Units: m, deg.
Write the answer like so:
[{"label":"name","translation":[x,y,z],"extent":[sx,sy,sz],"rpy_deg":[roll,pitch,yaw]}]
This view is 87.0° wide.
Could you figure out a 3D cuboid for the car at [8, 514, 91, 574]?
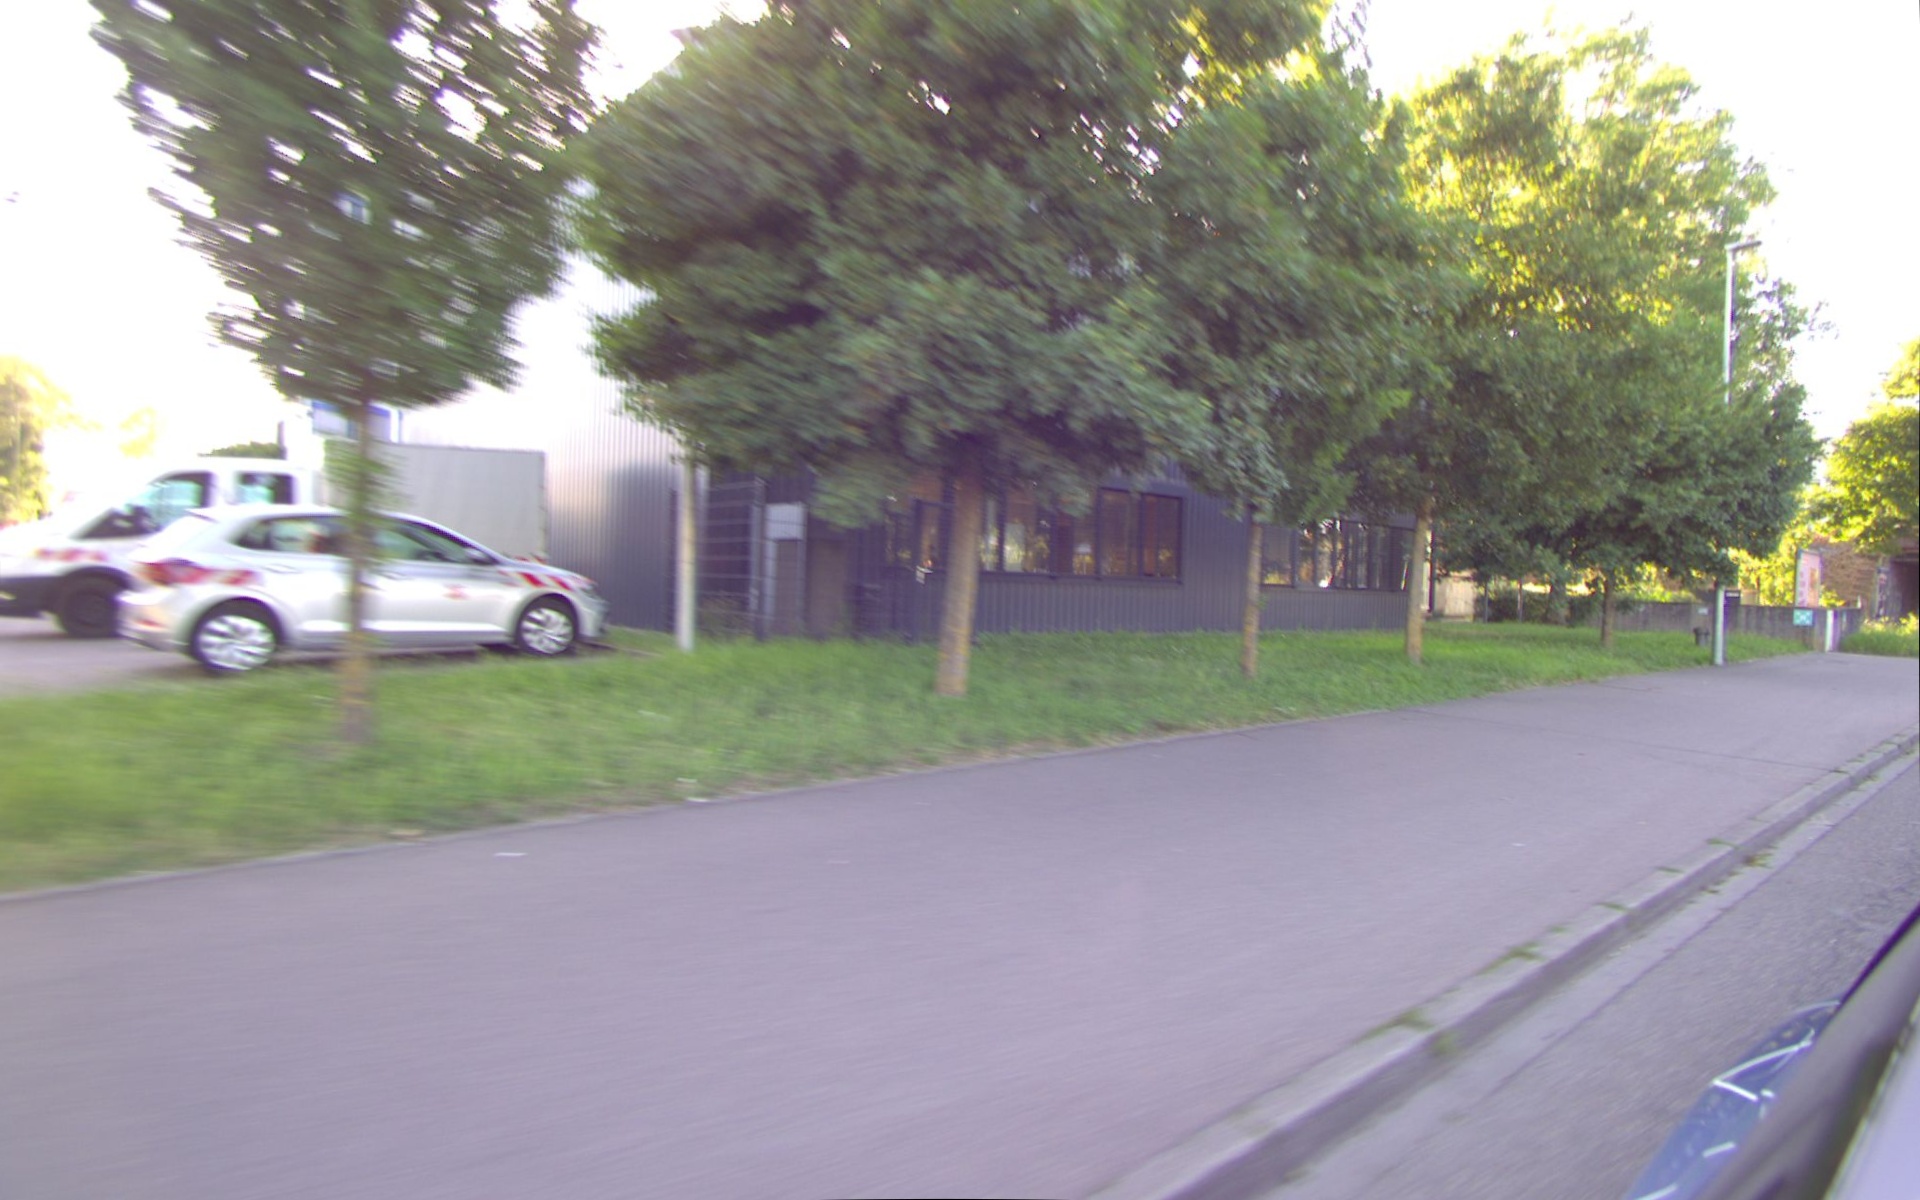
[{"label":"car","translation":[-30.920,-1.830,34.333],"extent":[3.985,1.846,1.762],"rpy_deg":[0,0,43]}]

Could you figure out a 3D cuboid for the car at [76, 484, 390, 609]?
[{"label":"car","translation":[-12.420,-0.891,17.450],"extent":[4.207,1.896,1.838],"rpy_deg":[-1,4,-43]}]

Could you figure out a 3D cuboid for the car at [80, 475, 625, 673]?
[{"label":"car","translation":[-5.619,-0.218,9.699],"extent":[4.207,1.485,1.837],"rpy_deg":[-1,0,-43]}]

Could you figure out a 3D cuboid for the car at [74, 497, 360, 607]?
[{"label":"car","translation":[-14.030,-0.897,19.250],"extent":[4.207,1.864,1.838],"rpy_deg":[-1,4,-43]}]

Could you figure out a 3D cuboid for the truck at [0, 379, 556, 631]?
[{"label":"truck","translation":[-8.995,-1.054,13.545],"extent":[6.289,2.711,2.285],"rpy_deg":[-1,0,-41]}]

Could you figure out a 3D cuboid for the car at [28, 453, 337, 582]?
[{"label":"car","translation":[-18.833,-1.900,24.774],"extent":[5.844,2.781,1.838],"rpy_deg":[-1,4,-43]}]

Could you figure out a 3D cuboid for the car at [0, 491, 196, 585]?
[{"label":"car","translation":[-21.956,-1.489,25.733],"extent":[3.930,2.216,1.903],"rpy_deg":[-1,0,-41]}]
